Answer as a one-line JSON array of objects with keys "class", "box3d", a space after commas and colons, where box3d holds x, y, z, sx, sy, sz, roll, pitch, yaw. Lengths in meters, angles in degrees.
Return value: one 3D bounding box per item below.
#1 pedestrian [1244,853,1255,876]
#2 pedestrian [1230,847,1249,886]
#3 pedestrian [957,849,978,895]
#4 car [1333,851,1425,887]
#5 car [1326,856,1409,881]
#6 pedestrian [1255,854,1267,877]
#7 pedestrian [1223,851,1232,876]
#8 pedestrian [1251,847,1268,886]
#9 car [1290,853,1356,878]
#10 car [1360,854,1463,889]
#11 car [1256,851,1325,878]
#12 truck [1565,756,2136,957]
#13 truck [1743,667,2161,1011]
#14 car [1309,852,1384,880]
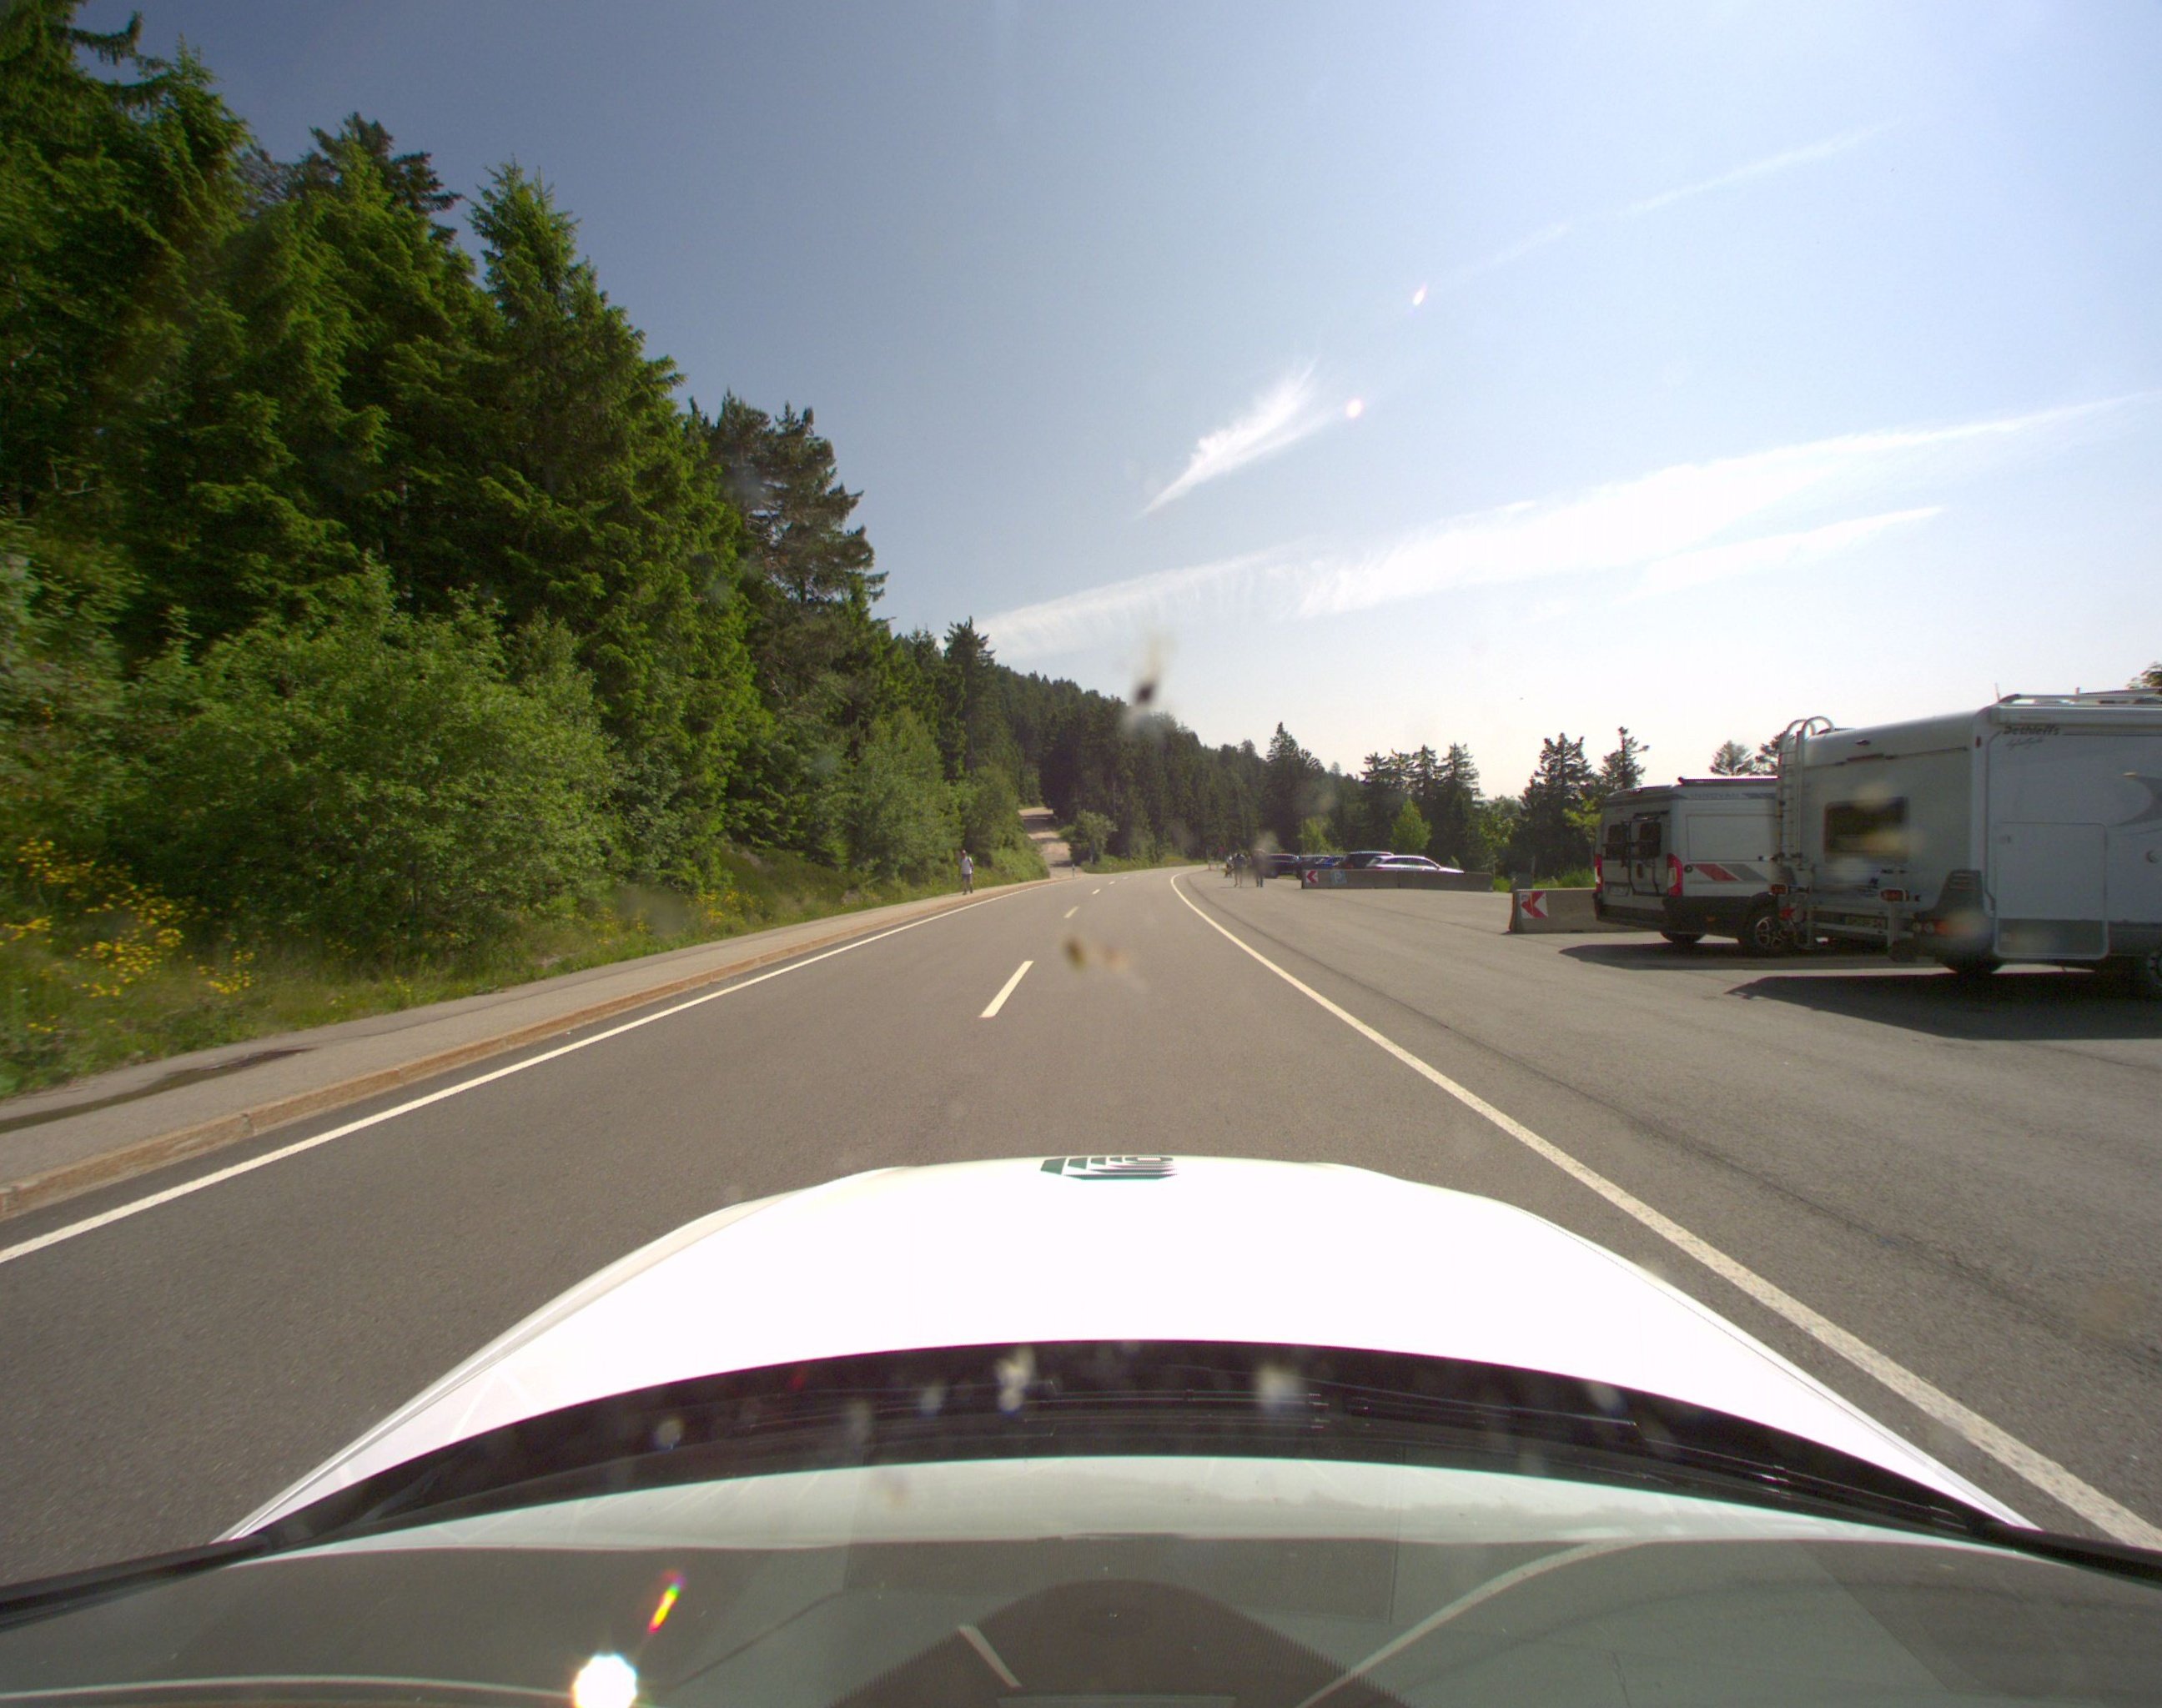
[{"class": "pedestrian", "box3d": [12.195, 0.769, 58.834, 0.647, 1.660, 0.691, -2, 1, 17]}, {"class": "pedestrian", "box3d": [7.336, 0.588, 37.629, 0.748, 1.760, 0.779, -1, 0, 17]}, {"class": "pedestrian", "box3d": [-4.439, 0.705, 31.914, 0.680, 1.746, 0.825, -1, 0, 0]}, {"class": "car", "box3d": [14.644, 0.728, 40.163, 3.974, 1.647, 1.600, 1, 0, 0]}, {"class": "car", "box3d": [15.793, 0.795, 45.063, 3.971, 1.353, 1.988, -1, 0, 2]}, {"class": "pedestrian", "box3d": [12.785, 0.793, 57.779, 0.611, 1.587, 0.739, -2, 1, 23]}, {"class": "pedestrian", "box3d": [10.447, 0.675, 58.018, 0.613, 1.775, 0.726, -1, -1, 11]}, {"class": "pedestrian", "box3d": [8.200, 0.564, 37.327, 0.659, 1.741, 0.898, -1, 0, 17]}, {"class": "car", "box3d": [15.476, 0.718, 52.206, 3.742, 1.567, 1.599, -1, 0, -3]}, {"class": "car", "box3d": [14.919, 0.777, 36.874, 3.973, 1.476, 1.774, 1, 0, 1]}, {"class": "car", "box3d": [14.191, 0.712, 55.364, 4.249, 1.794, 1.892, -1, -1, 1]}, {"class": "truck", "box3d": [11.157, 0.047, 12.297, 6.234, 2.590, 2.342, -1, 0, 3]}, {"class": "truck", "box3d": [11.359, -0.192, 8.952, 6.042, 3.196, 2.533, -1, 0, 0]}, {"class": "car", "box3d": [15.906, 0.700, 48.902, 3.974, 1.535, 1.807, -1, 3, -1]}]
